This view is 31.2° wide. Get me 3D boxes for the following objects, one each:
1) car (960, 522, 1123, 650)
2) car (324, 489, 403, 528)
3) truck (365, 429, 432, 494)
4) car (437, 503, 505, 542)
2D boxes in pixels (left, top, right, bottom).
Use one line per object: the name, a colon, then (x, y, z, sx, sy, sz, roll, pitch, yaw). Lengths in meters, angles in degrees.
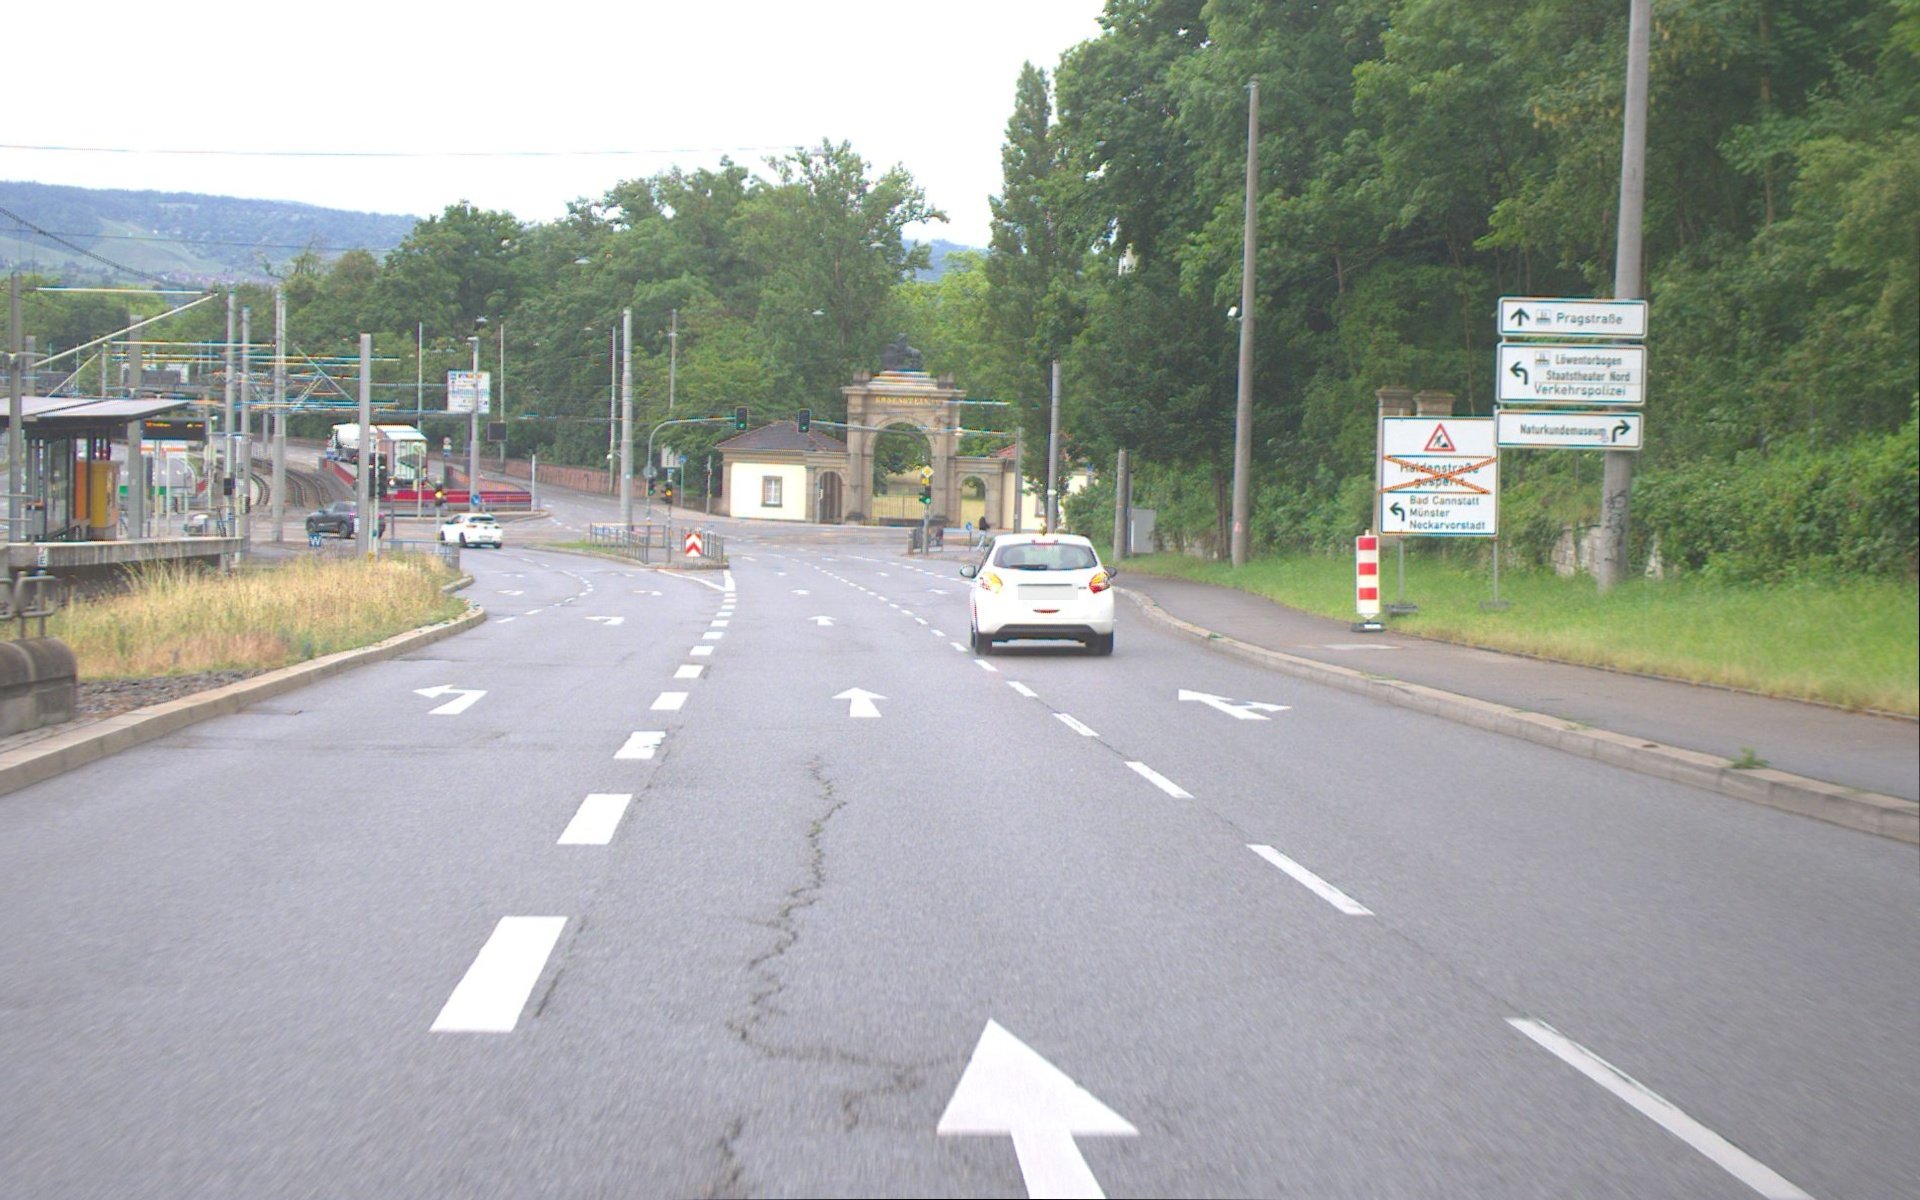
car: (0.961, -0.189, 42.705, 1.868, 1.506, 3.900, 0, 1, -1)
car: (-26.994, -4.156, 155.499, 1.994, 1.700, 4.000, 0, 2, -36)
truck: (-42.736, -10.515, 261.205, 3.413, 4.555, 11.291, 4, 1, -16)
car: (-20.595, -3.254, 144.661, 1.822, 1.600, 4.001, -1, 2, -24)
